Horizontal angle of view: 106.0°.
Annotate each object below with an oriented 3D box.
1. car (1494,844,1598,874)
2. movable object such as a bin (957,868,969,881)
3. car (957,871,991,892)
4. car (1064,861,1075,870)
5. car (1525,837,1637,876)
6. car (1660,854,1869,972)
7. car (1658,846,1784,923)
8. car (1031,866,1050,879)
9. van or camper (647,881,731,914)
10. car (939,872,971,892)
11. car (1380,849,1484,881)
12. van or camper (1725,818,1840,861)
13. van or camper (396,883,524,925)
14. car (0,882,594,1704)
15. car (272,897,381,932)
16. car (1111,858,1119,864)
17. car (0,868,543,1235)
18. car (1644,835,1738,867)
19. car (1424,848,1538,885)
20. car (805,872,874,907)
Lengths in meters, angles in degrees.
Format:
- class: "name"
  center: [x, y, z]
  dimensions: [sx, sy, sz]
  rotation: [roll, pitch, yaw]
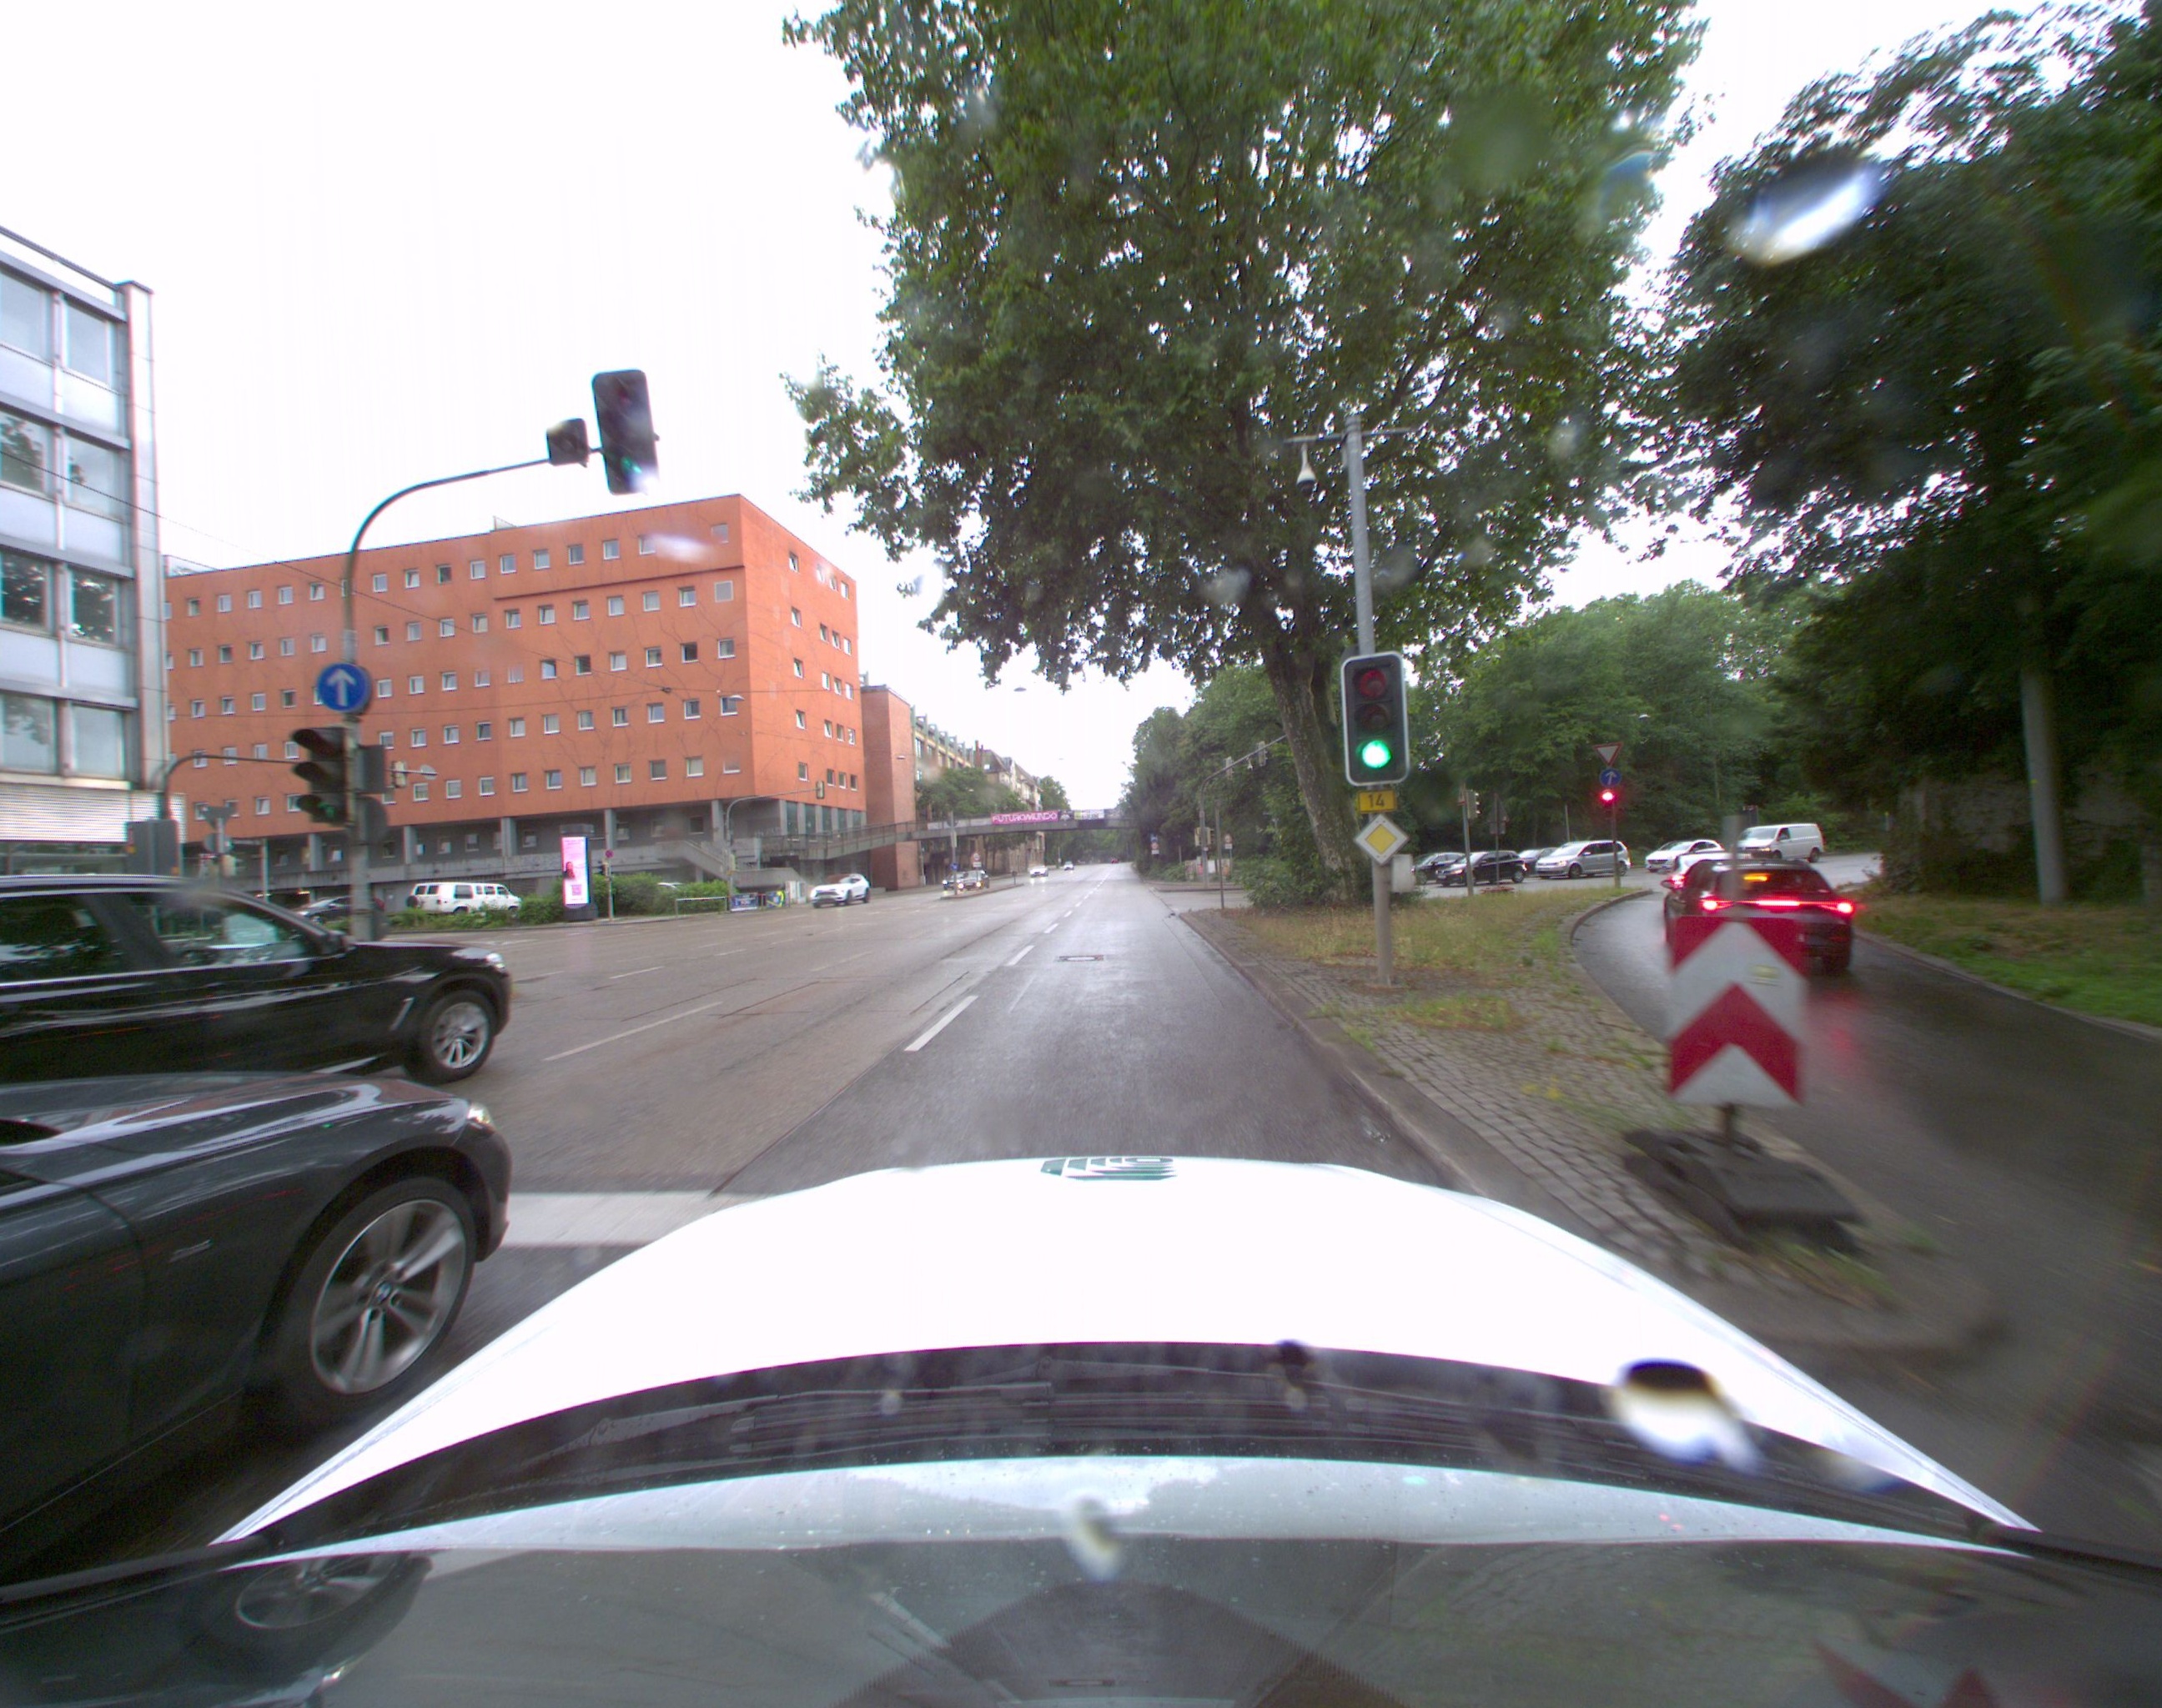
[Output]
- class: "car"
  center: [22.787, 0.227, 39.933]
  dimensions: [4.439, 1.402, 1.821]
  rotation: [0, -1, -14]
- class: "movable object such as a bin"
  center: [-15.397, 2.663, 106.285]
  dimensions: [1.277, 1.518, 1.274]
  rotation: [-3, -1, 3]
- class: "car"
  center: [-7.881, 2.003, 60.294]
  dimensions: [1.676, 1.436, 3.865]
  rotation: [-3, -1, 3]
- class: "car"
  center: [-2.049, 2.043, 144.247]
  dimensions: [1.594, 1.499, 3.714]
  rotation: [-4, -1, 3]
- class: "car"
  center: [22.413, 0.125, 36.527]
  dimensions: [4.203, 1.680, 1.898]
  rotation: [0, -1, -14]
- class: "car"
  center: [9.879, 0.708, 12.128]
  dimensions: [1.731, 1.403, 4.441]
  rotation: [1, 0, 31]
- class: "car"
  center: [14.112, 0.564, 18.191]
  dimensions: [1.834, 1.448, 4.648]
  rotation: [2, 1, 34]
- class: "car"
  center: [-4.890, 2.191, 99.109]
  dimensions: [1.823, 1.393, 4.408]
  rotation: [-4, -1, 3]
- class: "van or camper"
  center: [-22.875, 2.520, 47.590]
  dimensions: [3.965, 1.627, 1.918]
  rotation: [-3, -1, 7]
- class: "car"
  center: [-10.672, 2.360, 69.444]
  dimensions: [1.701, 1.464, 4.046]
  rotation: [-3, -1, 5]
- class: "car"
  center: [16.559, 0.514, 38.468]
  dimensions: [4.205, 1.440, 1.940]
  rotation: [0, -1, -14]
- class: "van or camper"
  center: [34.769, -0.721, 40.396]
  dimensions: [4.859, 1.947, 1.897]
  rotation: [-1, -1, -16]
- class: "van or camper"
  center: [-32.978, 2.597, 43.519]
  dimensions: [2.113, 1.977, 5.466]
  rotation: [-1, -1, 9]
- class: "car"
  center: [-2.918, 0.859, 0.938]
  dimensions: [1.769, 1.458, 4.481]
  rotation: [-3, -1, 3]
- class: "car"
  center: [-40.653, 3.220, 44.003]
  dimensions: [1.699, 1.612, 4.097]
  rotation: [-1, -1, 9]
- class: "car"
  center: [9.456, 1.968, 225.570]
  dimensions: [1.998, 1.643, 4.375]
  rotation: [-3, -1, 0]
- class: "car"
  center: [-5.726, 0.926, 4.885]
  dimensions: [1.801, 1.656, 4.449]
  rotation: [-1, -1, 4]
- class: "car"
  center: [28.813, -0.134, 38.478]
  dimensions: [3.862, 1.461, 1.648]
  rotation: [0, -1, -18]
- class: "car"
  center: [17.033, 0.523, 34.731]
  dimensions: [4.192, 1.460, 1.784]
  rotation: [0, -1, -14]
- class: "car"
  center: [-12.474, 1.793, 42.326]
  dimensions: [1.881, 1.610, 4.461]
  rotation: [-3, -1, 4]
